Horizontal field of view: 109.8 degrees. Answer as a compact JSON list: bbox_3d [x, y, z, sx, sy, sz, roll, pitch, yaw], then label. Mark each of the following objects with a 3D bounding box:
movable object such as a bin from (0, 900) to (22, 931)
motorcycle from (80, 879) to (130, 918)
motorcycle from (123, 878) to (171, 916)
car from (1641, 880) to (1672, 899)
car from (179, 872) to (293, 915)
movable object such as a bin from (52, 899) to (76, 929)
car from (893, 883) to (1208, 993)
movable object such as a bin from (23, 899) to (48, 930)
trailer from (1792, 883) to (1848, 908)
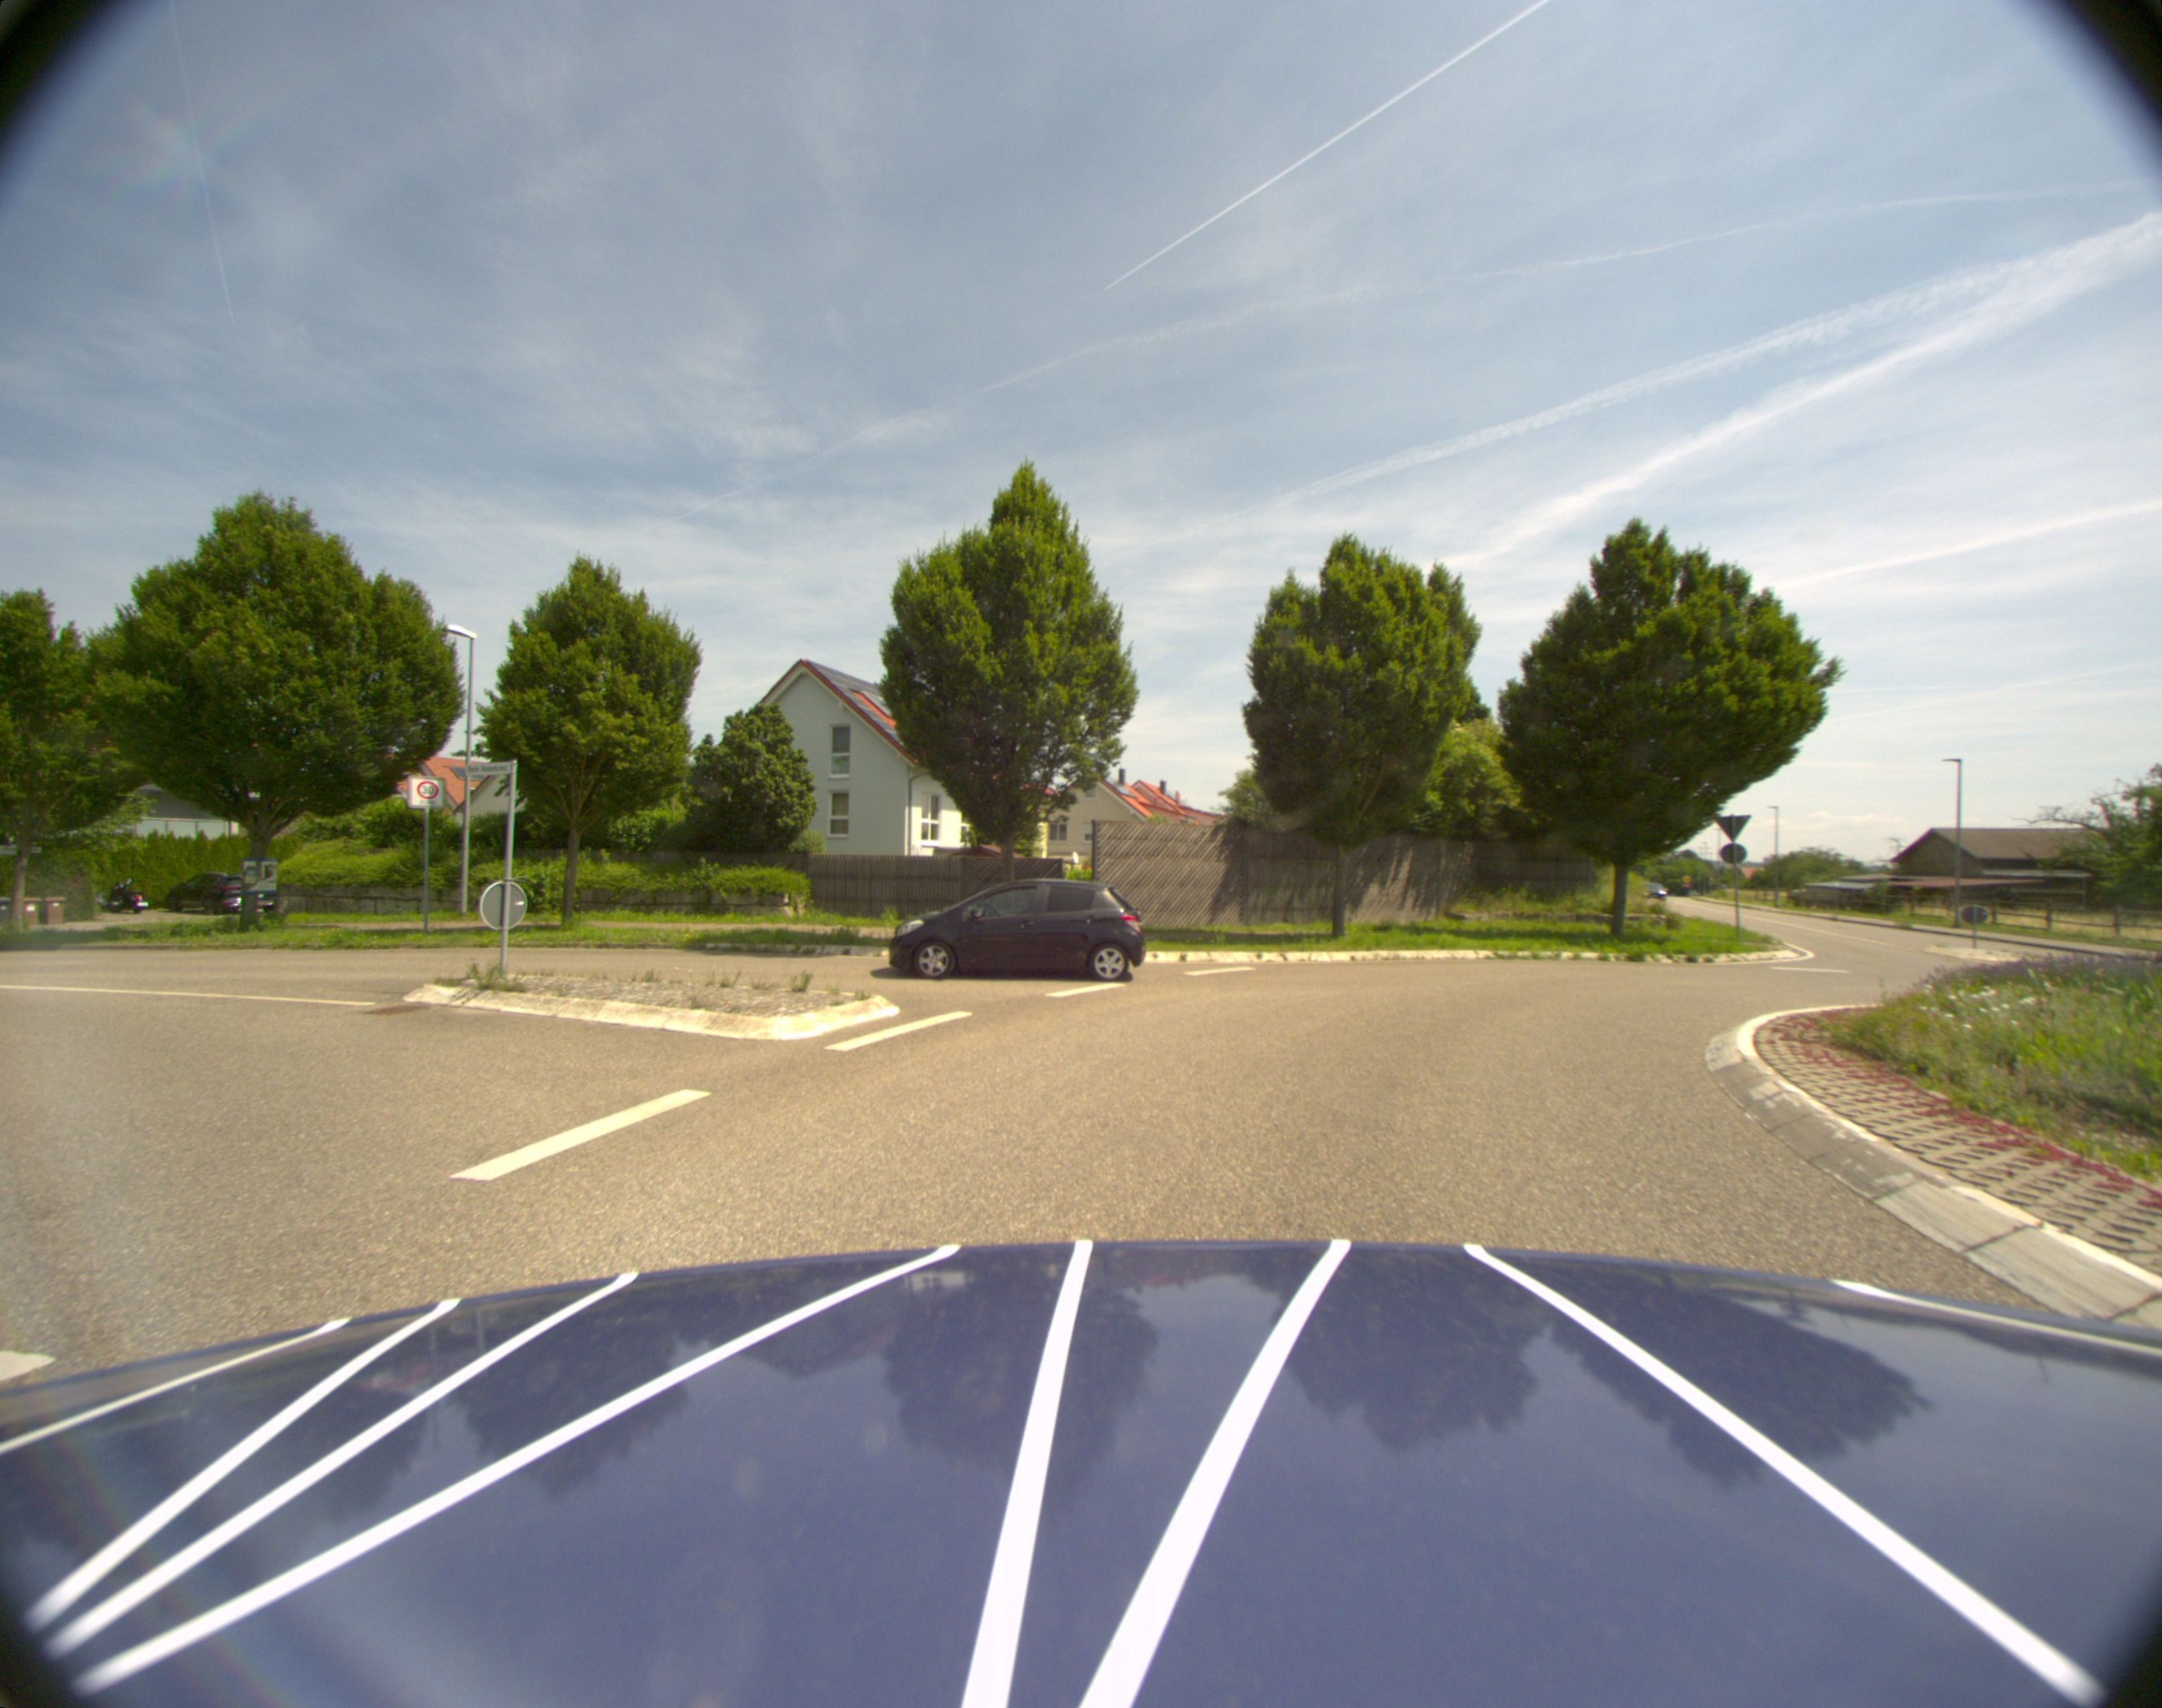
[{"bbox_3d":[-34.464,1.962,24.439,0.497,0.960,0.442,0,-1,34],"label":"movable object such as a bin"},{"bbox_3d":[-36.069,1.613,28.071,1.657,1.340,0.853,1,0,28],"label":"motorcycle"},{"bbox_3d":[-35.610,1.613,28.977,1.657,1.340,0.853,1,0,28],"label":"motorcycle"},{"bbox_3d":[55.143,3.342,72.862,1.611,1.605,4.230,4,1,28],"label":"car"},{"bbox_3d":[-33.913,1.538,30.497,3.990,1.543,1.715,1,0,21],"label":"car"},{"bbox_3d":[-33.887,1.979,25.312,0.497,0.960,0.442,0,-1,34],"label":"movable object such as a bin"},{"bbox_3d":[-0.427,1.222,11.573,4.429,1.456,1.679,1,-1,-1],"label":"car"},{"bbox_3d":[-34.199,1.970,24.852,0.497,0.960,0.442,0,-1,34],"label":"movable object such as a bin"},{"bbox_3d":[59.343,3.277,61.123,2.155,1.693,5.040,3,0,32],"label":"trailer"}]
